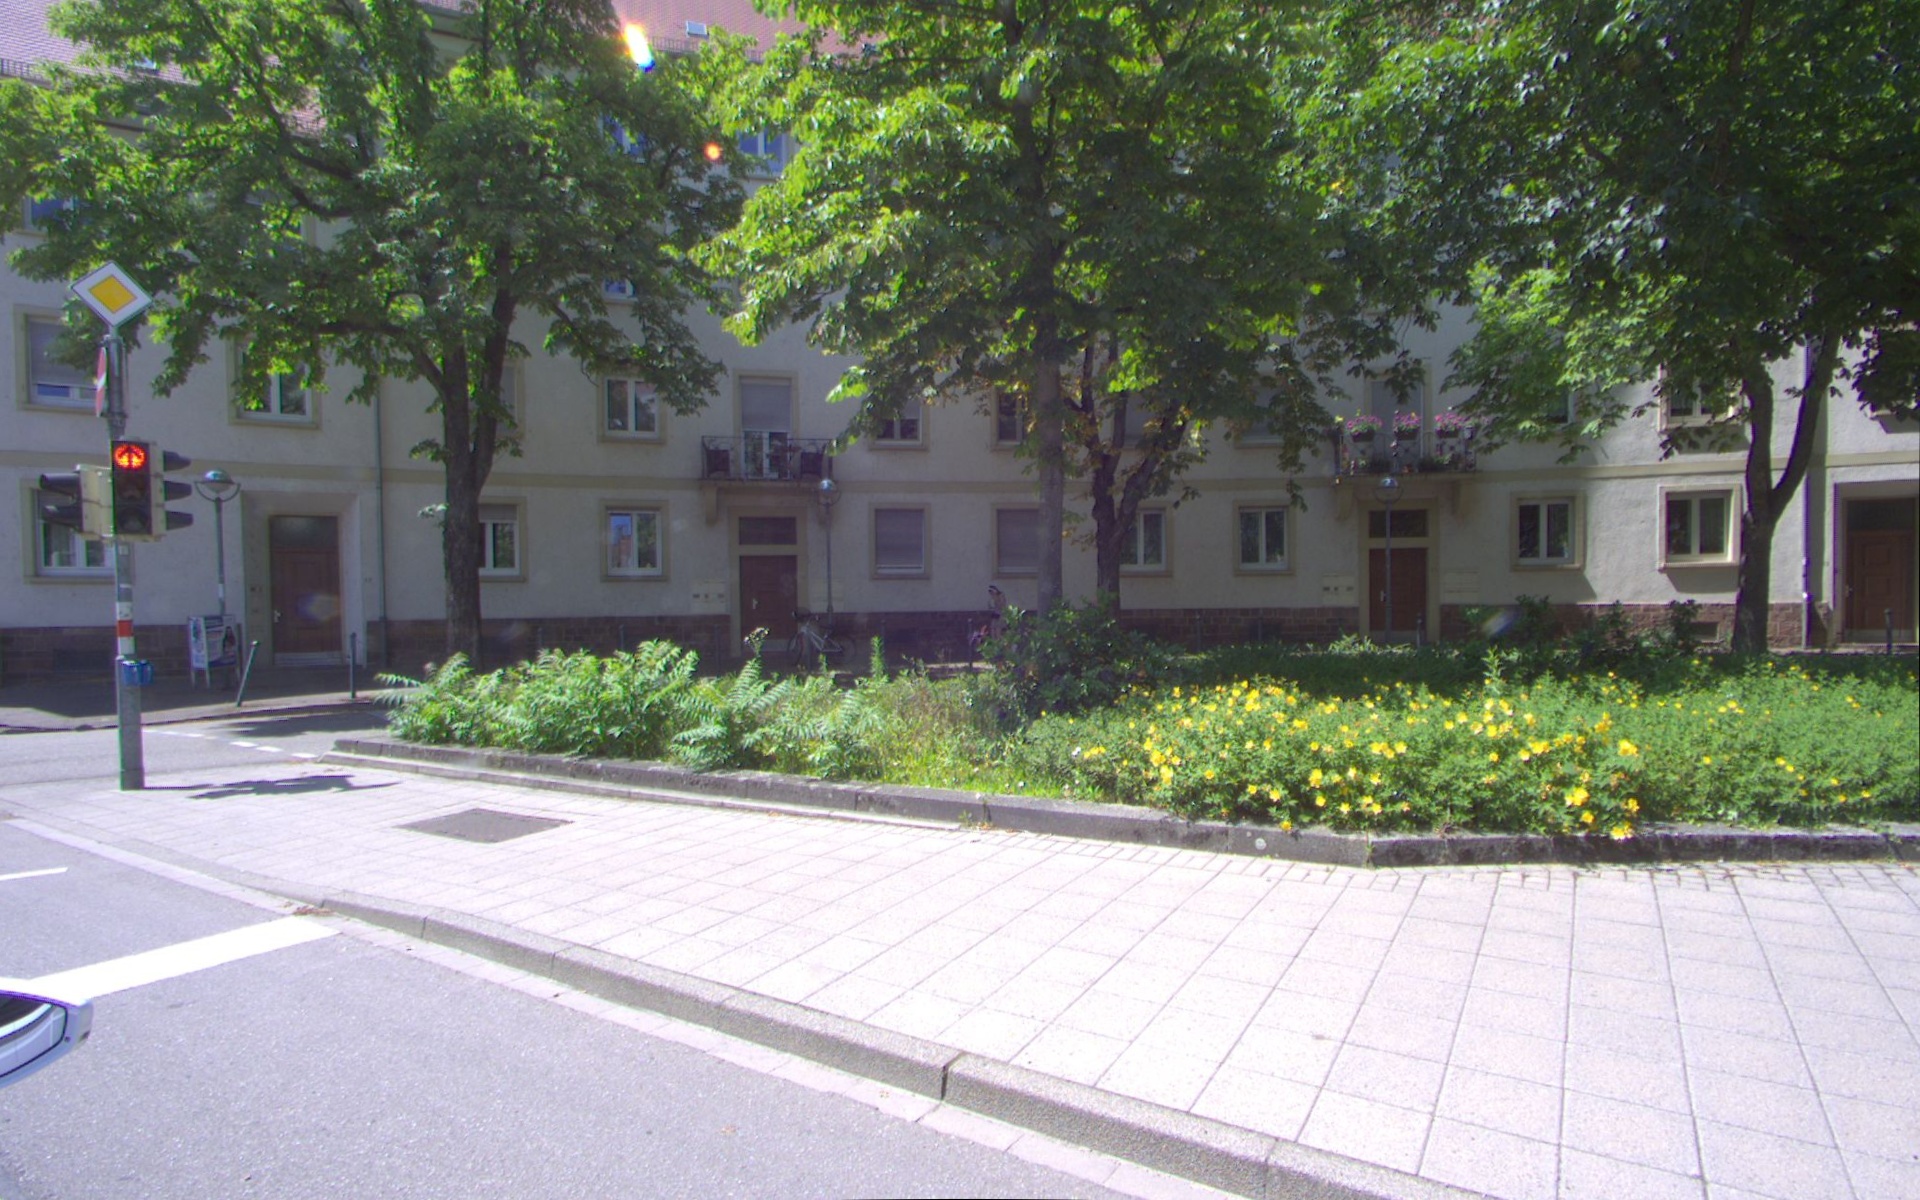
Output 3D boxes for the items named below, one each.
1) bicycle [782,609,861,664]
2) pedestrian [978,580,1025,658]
[{"bbox_3d":[-2.876,0.756,20.869,1.575,1.119,0.525,-1,1,-4],"label":"bicycle"},{"bbox_3d":[0.948,0.425,22.838,1.037,1.715,0.652,-1,6,1],"label":"pedestrian"}]
